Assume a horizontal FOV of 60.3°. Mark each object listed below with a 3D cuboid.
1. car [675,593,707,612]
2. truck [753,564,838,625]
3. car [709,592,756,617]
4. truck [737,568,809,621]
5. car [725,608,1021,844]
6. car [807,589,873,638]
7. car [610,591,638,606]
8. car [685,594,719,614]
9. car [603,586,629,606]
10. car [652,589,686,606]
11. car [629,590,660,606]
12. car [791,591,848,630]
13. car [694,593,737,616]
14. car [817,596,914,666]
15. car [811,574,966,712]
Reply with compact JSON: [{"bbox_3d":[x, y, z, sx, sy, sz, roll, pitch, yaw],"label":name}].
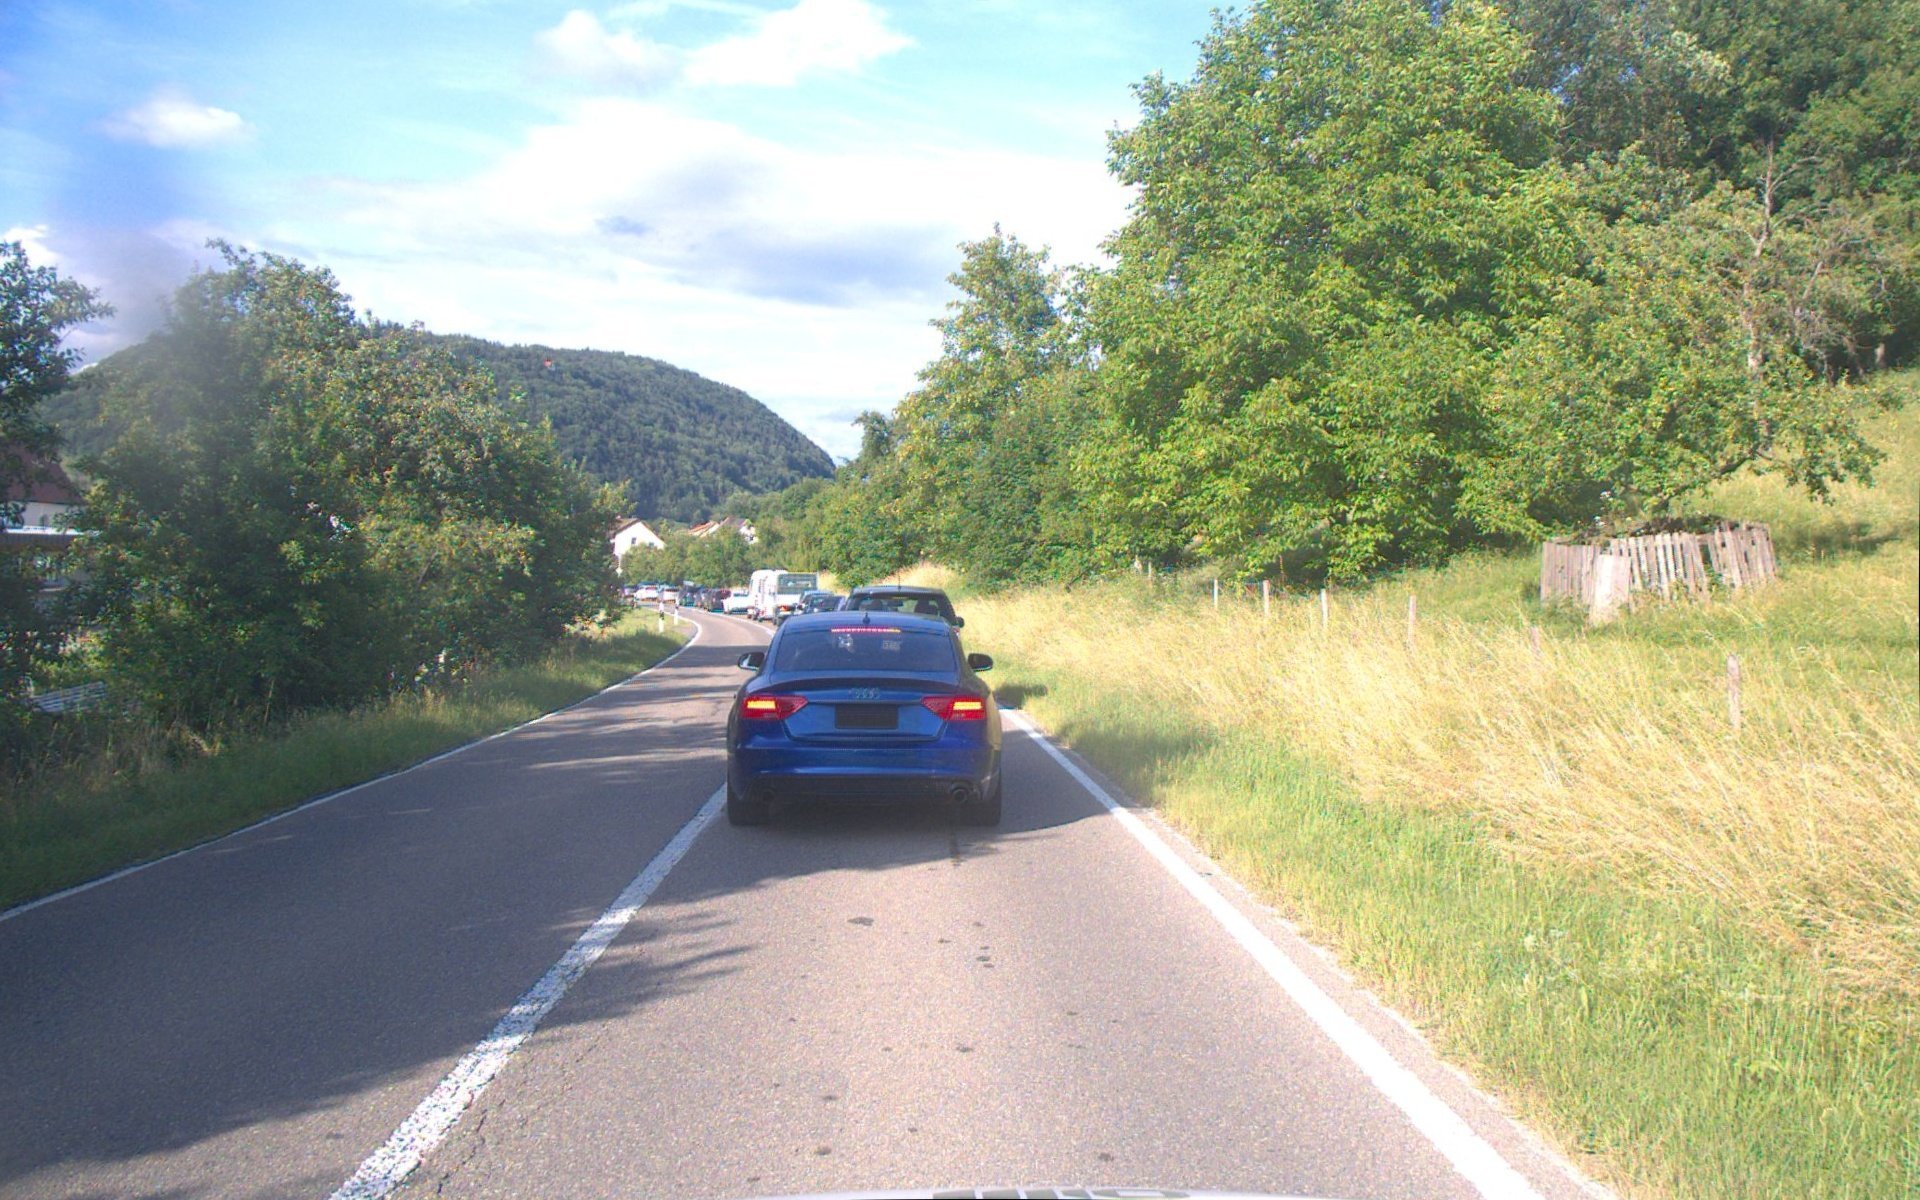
[{"bbox_3d":[-21.545,0.202,132.374,1.963,1.508,3.979,1,0,-18],"label":"car"},{"bbox_3d":[-8.059,-0.253,79.704,2.814,2.712,10.359,1,0,-13],"label":"truck"},{"bbox_3d":[-14.328,0.303,104.001,1.966,1.508,3.973,1,0,-22],"label":"car"},{"bbox_3d":[-10.448,-0.304,91.477,2.814,2.712,10.610,1,0,-13],"label":"truck"},{"bbox_3d":[-0.553,0.760,11.856,1.757,1.383,3.999,0,0,-1],"label":"car"},{"bbox_3d":[-3.947,0.436,53.772,1.955,1.508,3.994,1,0,-7],"label":"car"},{"bbox_3d":[-34.137,-0.180,167.926,1.967,1.508,3.970,1,0,-24],"label":"car"},{"bbox_3d":[-19.655,0.322,125.995,1.963,1.508,3.979,1,0,-18],"label":"car"},{"bbox_3d":[-36.627,-0.396,175.886,1.967,2.049,3.971,1,0,-23],"label":"car"},{"bbox_3d":[-25.402,-0.215,144.246,1.967,1.508,3.970,1,0,-24],"label":"car"},{"bbox_3d":[-29.889,-0.209,156.632,1.967,1.508,3.970,1,0,-24],"label":"car"},{"bbox_3d":[-5.662,0.418,66.208,1.957,1.508,3.991,1,0,-9],"label":"car"},{"bbox_3d":[-16.431,0.312,111.143,1.966,1.508,3.973,1,0,-22],"label":"car"},{"bbox_3d":[-2.010,0.640,35.978,1.953,1.411,3.998,1,0,-2],"label":"car"},{"bbox_3d":[-0.975,0.565,23.105,1.953,1.732,3.998,1,0,-2],"label":"car"}]
